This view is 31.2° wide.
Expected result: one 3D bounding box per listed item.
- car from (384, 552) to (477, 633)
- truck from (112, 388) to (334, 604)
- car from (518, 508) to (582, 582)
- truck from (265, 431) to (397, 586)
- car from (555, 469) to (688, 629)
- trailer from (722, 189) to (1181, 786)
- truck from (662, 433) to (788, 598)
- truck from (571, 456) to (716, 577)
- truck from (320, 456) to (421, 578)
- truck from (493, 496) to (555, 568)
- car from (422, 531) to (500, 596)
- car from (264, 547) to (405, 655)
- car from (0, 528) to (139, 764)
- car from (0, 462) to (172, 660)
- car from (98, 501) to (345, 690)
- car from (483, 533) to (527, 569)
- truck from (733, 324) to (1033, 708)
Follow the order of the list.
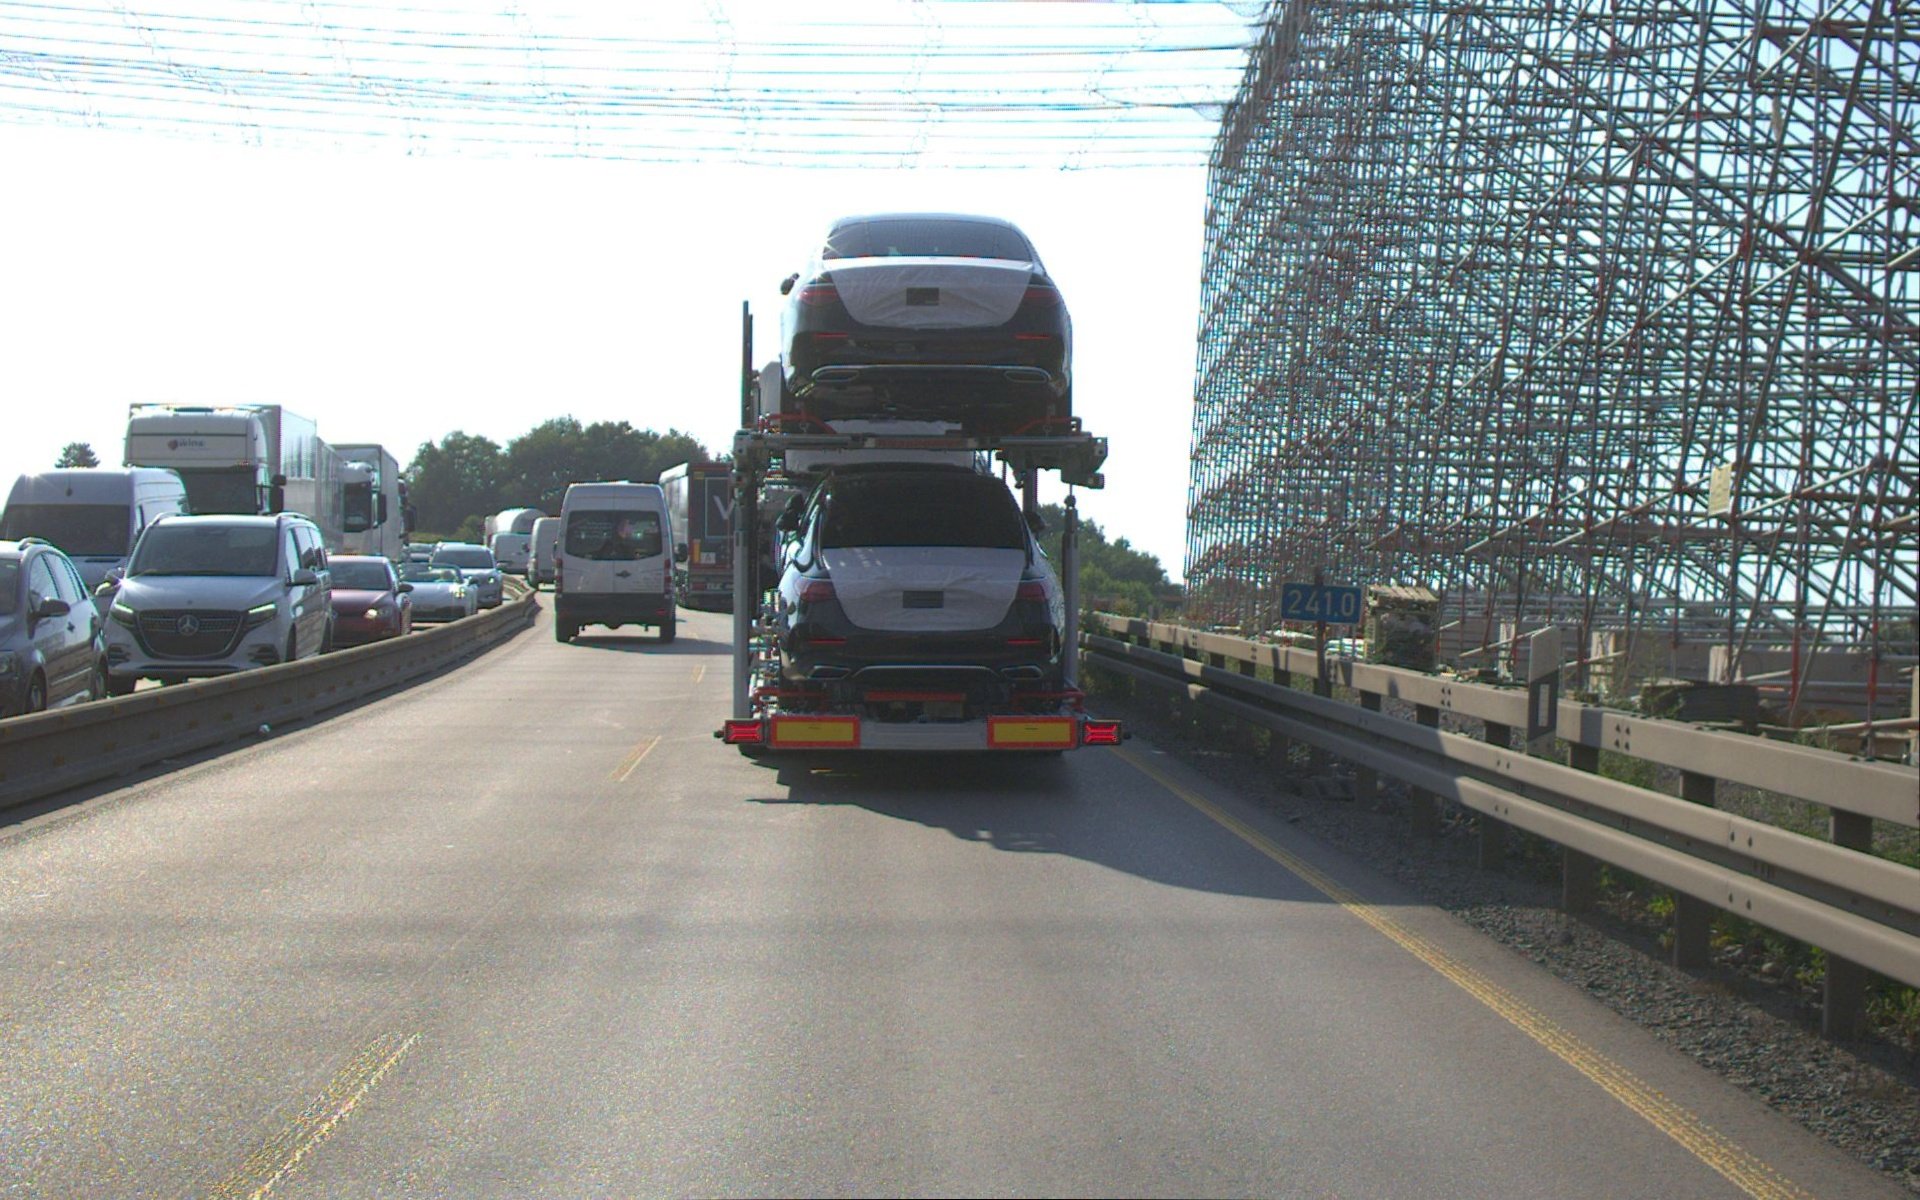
[{"bbox_3d":[-10.272,-0.166,66.540,1.701,1.448,4.001,1,1,-10],"label":"car"},{"bbox_3d":[-13.180,-1.806,62.456,2.594,3.462,12.395,1,1,-6],"label":"truck"},{"bbox_3d":[-14.667,-1.964,122.784,1.993,2.570,4.001,1,1,-10],"label":"car"},{"bbox_3d":[-15.324,-2.189,84.457,2.594,3.462,12.395,1,1,-8],"label":"truck"},{"bbox_3d":[-5.692,-0.831,58.242,1.956,2.612,4.000,-1,0,-2],"label":"car"},{"bbox_3d":[-0.479,-0.742,28.923,2.868,3.712,14.949,0,0,-3],"label":"trailer"},{"bbox_3d":[-6.801,-2.380,98.023,2.731,4.370,11.524,1,1,-8],"label":"truck"},{"bbox_3d":[-12.290,-3.092,131.925,3.686,4.206,13.672,-3,1,-12],"label":"truck"},{"bbox_3d":[-17.983,-2.502,105.401,2.594,3.462,12.395,1,1,-8],"label":"truck"},{"bbox_3d":[-23.544,-3.661,185.120,2.615,3.711,9.662,1,1,-11],"label":"truck"},{"bbox_3d":[-11.716,-0.859,80.556,1.701,1.448,4.001,1,1,-10],"label":"car"},{"bbox_3d":[-8.976,-0.018,49.588,1.836,1.448,4.001,1,1,-8],"label":"car"},{"bbox_3d":[-7.445,0.271,25.675,1.695,1.623,4.000,1,1,-1],"label":"car"},{"bbox_3d":[-11.967,-0.542,46.726,1.993,2.532,4.001,1,1,-7],"label":"car"},{"bbox_3d":[-7.899,-0.074,37.121,1.836,1.887,4.000,1,1,-1],"label":"car"},{"bbox_3d":[-20.405,-2.193,154.286,1.710,1.612,3.504,0,0,-3],"label":"car"},{"bbox_3d":[-0.931,-0.824,36.771,2.881,3.690,7.326,0,0,-3],"label":"truck"}]
